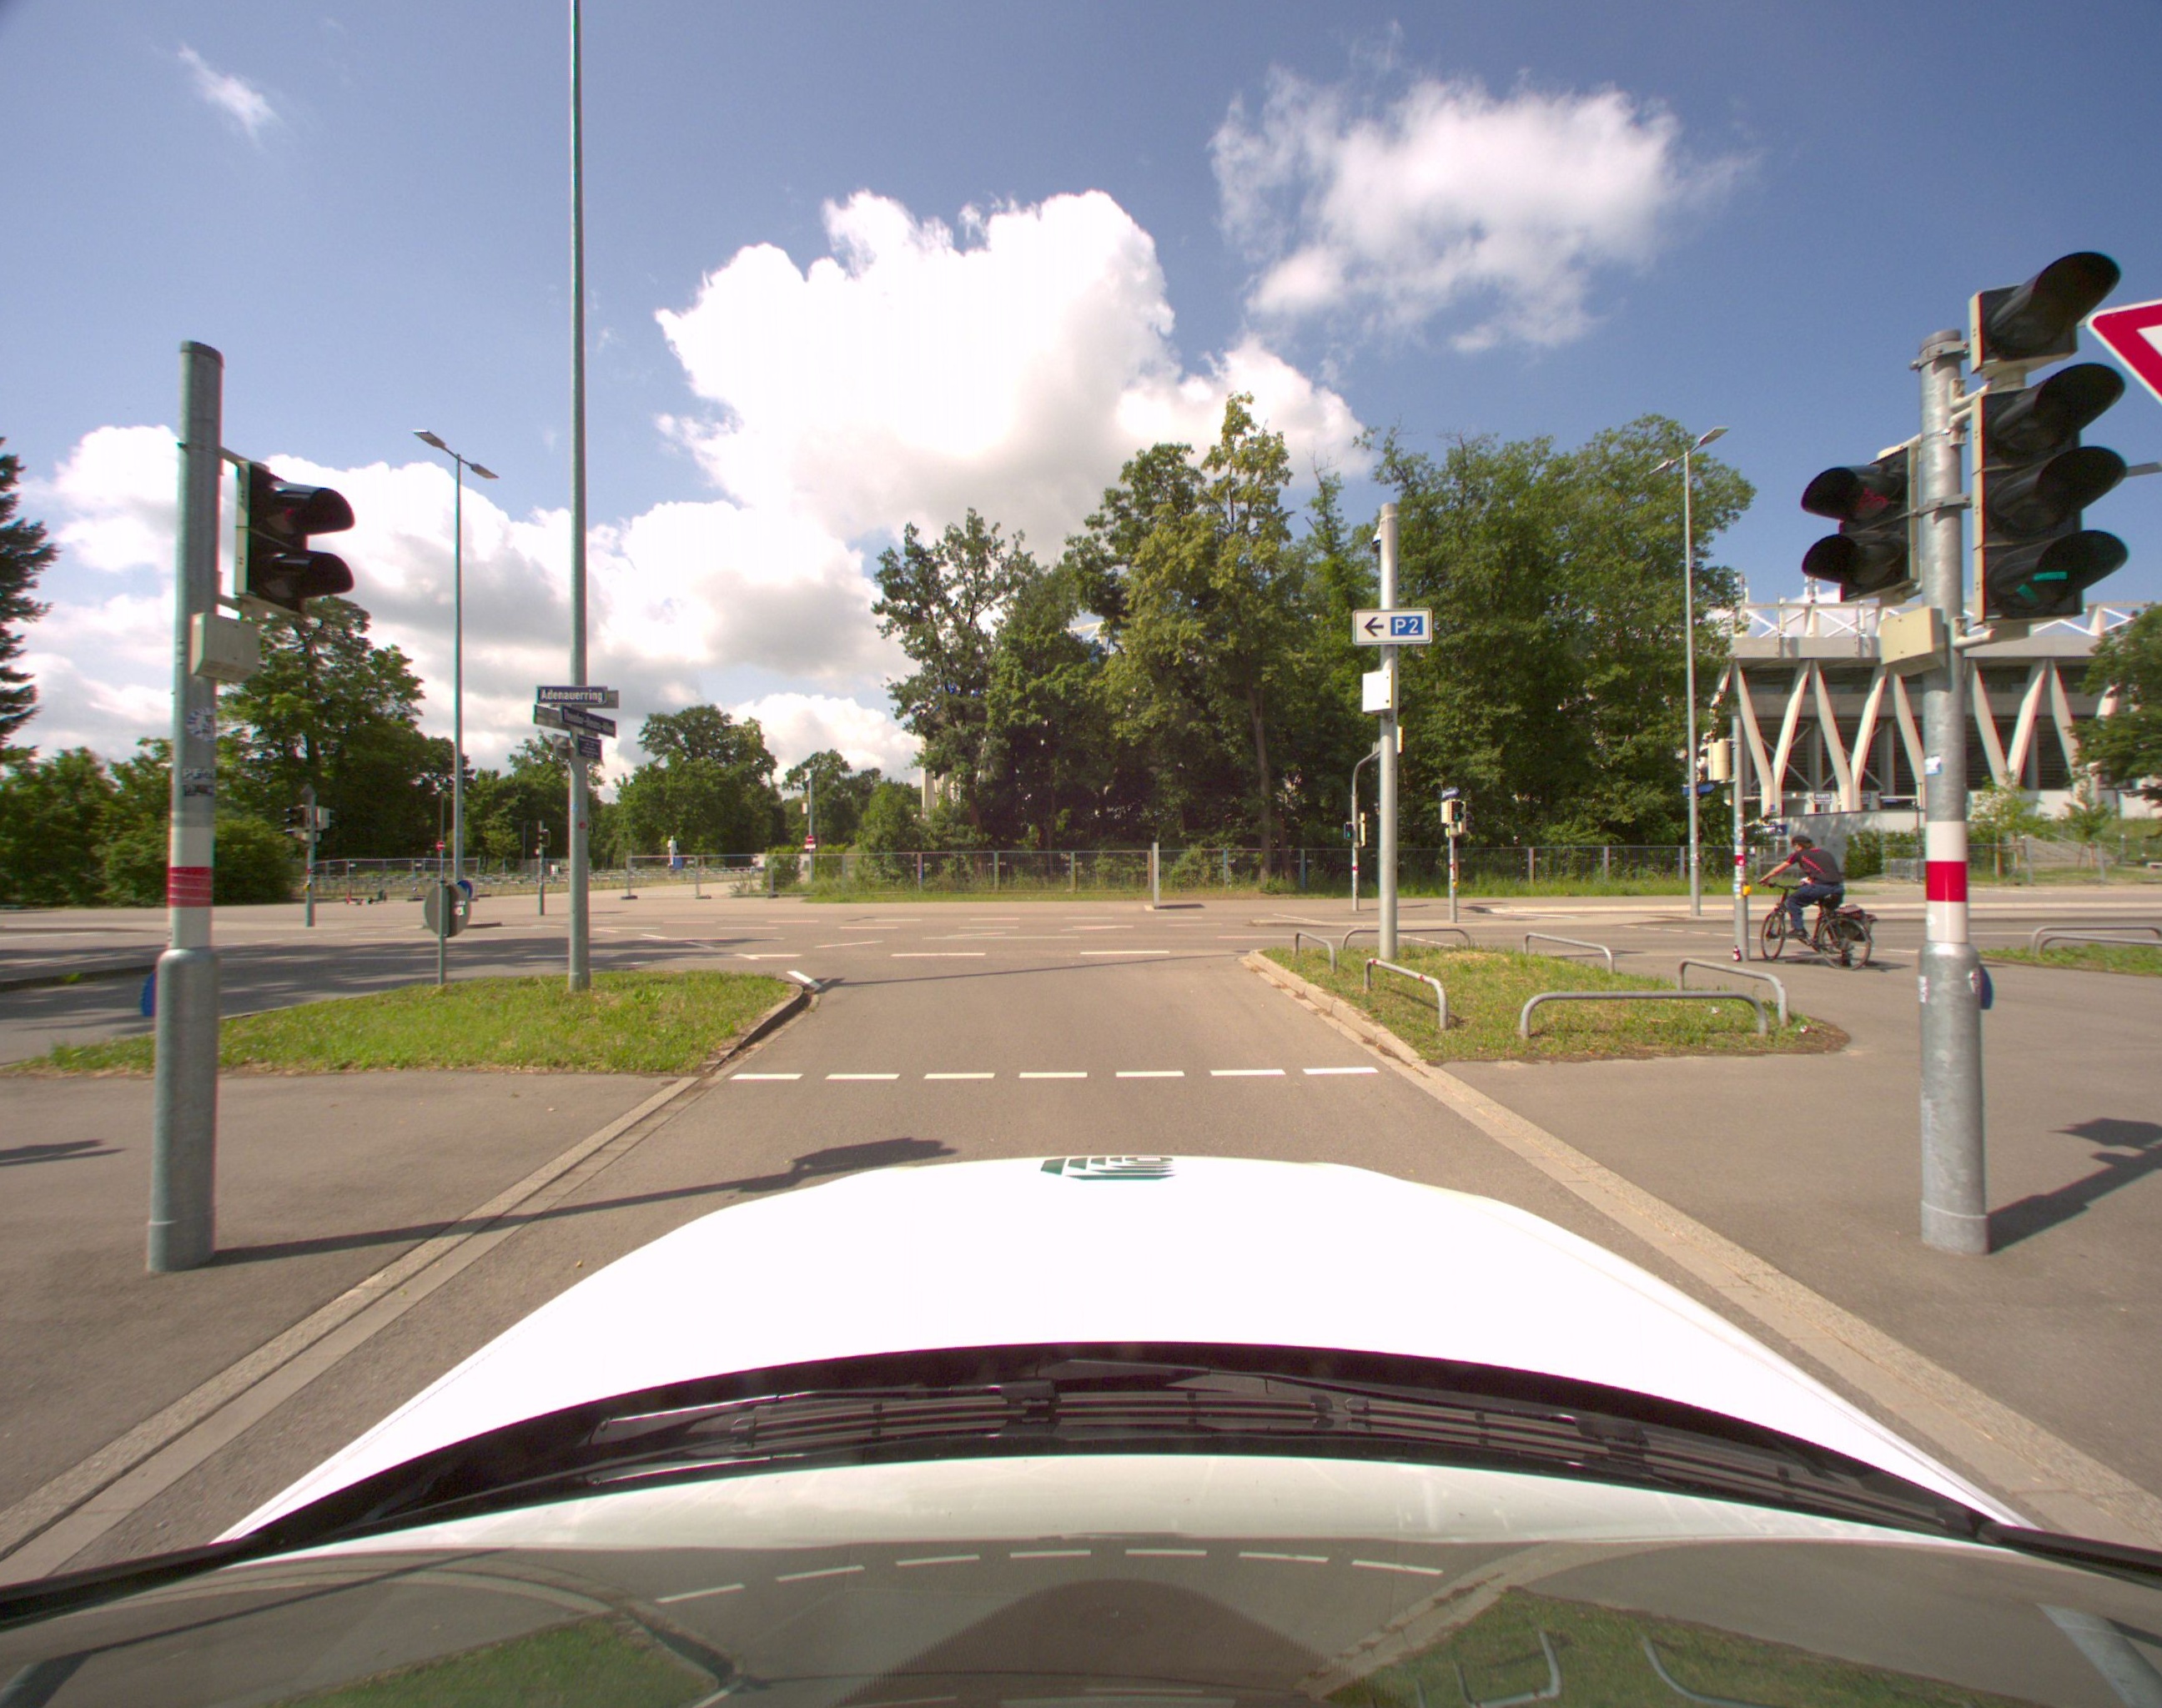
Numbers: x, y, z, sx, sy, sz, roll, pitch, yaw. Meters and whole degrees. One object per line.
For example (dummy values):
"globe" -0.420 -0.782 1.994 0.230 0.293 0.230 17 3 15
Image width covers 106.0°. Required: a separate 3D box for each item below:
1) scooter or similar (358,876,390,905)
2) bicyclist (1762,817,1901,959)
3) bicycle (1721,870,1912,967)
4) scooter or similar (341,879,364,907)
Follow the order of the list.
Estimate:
"scooter or similar" -31.918 1.636 36.778 0.405 1.252 1.310 -1 0 -4
"bicyclist" 9.984 0.451 10.881 0.881 1.798 0.979 -1 -2 1
"bicycle" 9.963 0.837 11.153 0.877 1.206 1.897 -1 -2 0
"scooter or similar" -31.839 1.695 35.587 1.295 1.200 0.410 -1 0 33
